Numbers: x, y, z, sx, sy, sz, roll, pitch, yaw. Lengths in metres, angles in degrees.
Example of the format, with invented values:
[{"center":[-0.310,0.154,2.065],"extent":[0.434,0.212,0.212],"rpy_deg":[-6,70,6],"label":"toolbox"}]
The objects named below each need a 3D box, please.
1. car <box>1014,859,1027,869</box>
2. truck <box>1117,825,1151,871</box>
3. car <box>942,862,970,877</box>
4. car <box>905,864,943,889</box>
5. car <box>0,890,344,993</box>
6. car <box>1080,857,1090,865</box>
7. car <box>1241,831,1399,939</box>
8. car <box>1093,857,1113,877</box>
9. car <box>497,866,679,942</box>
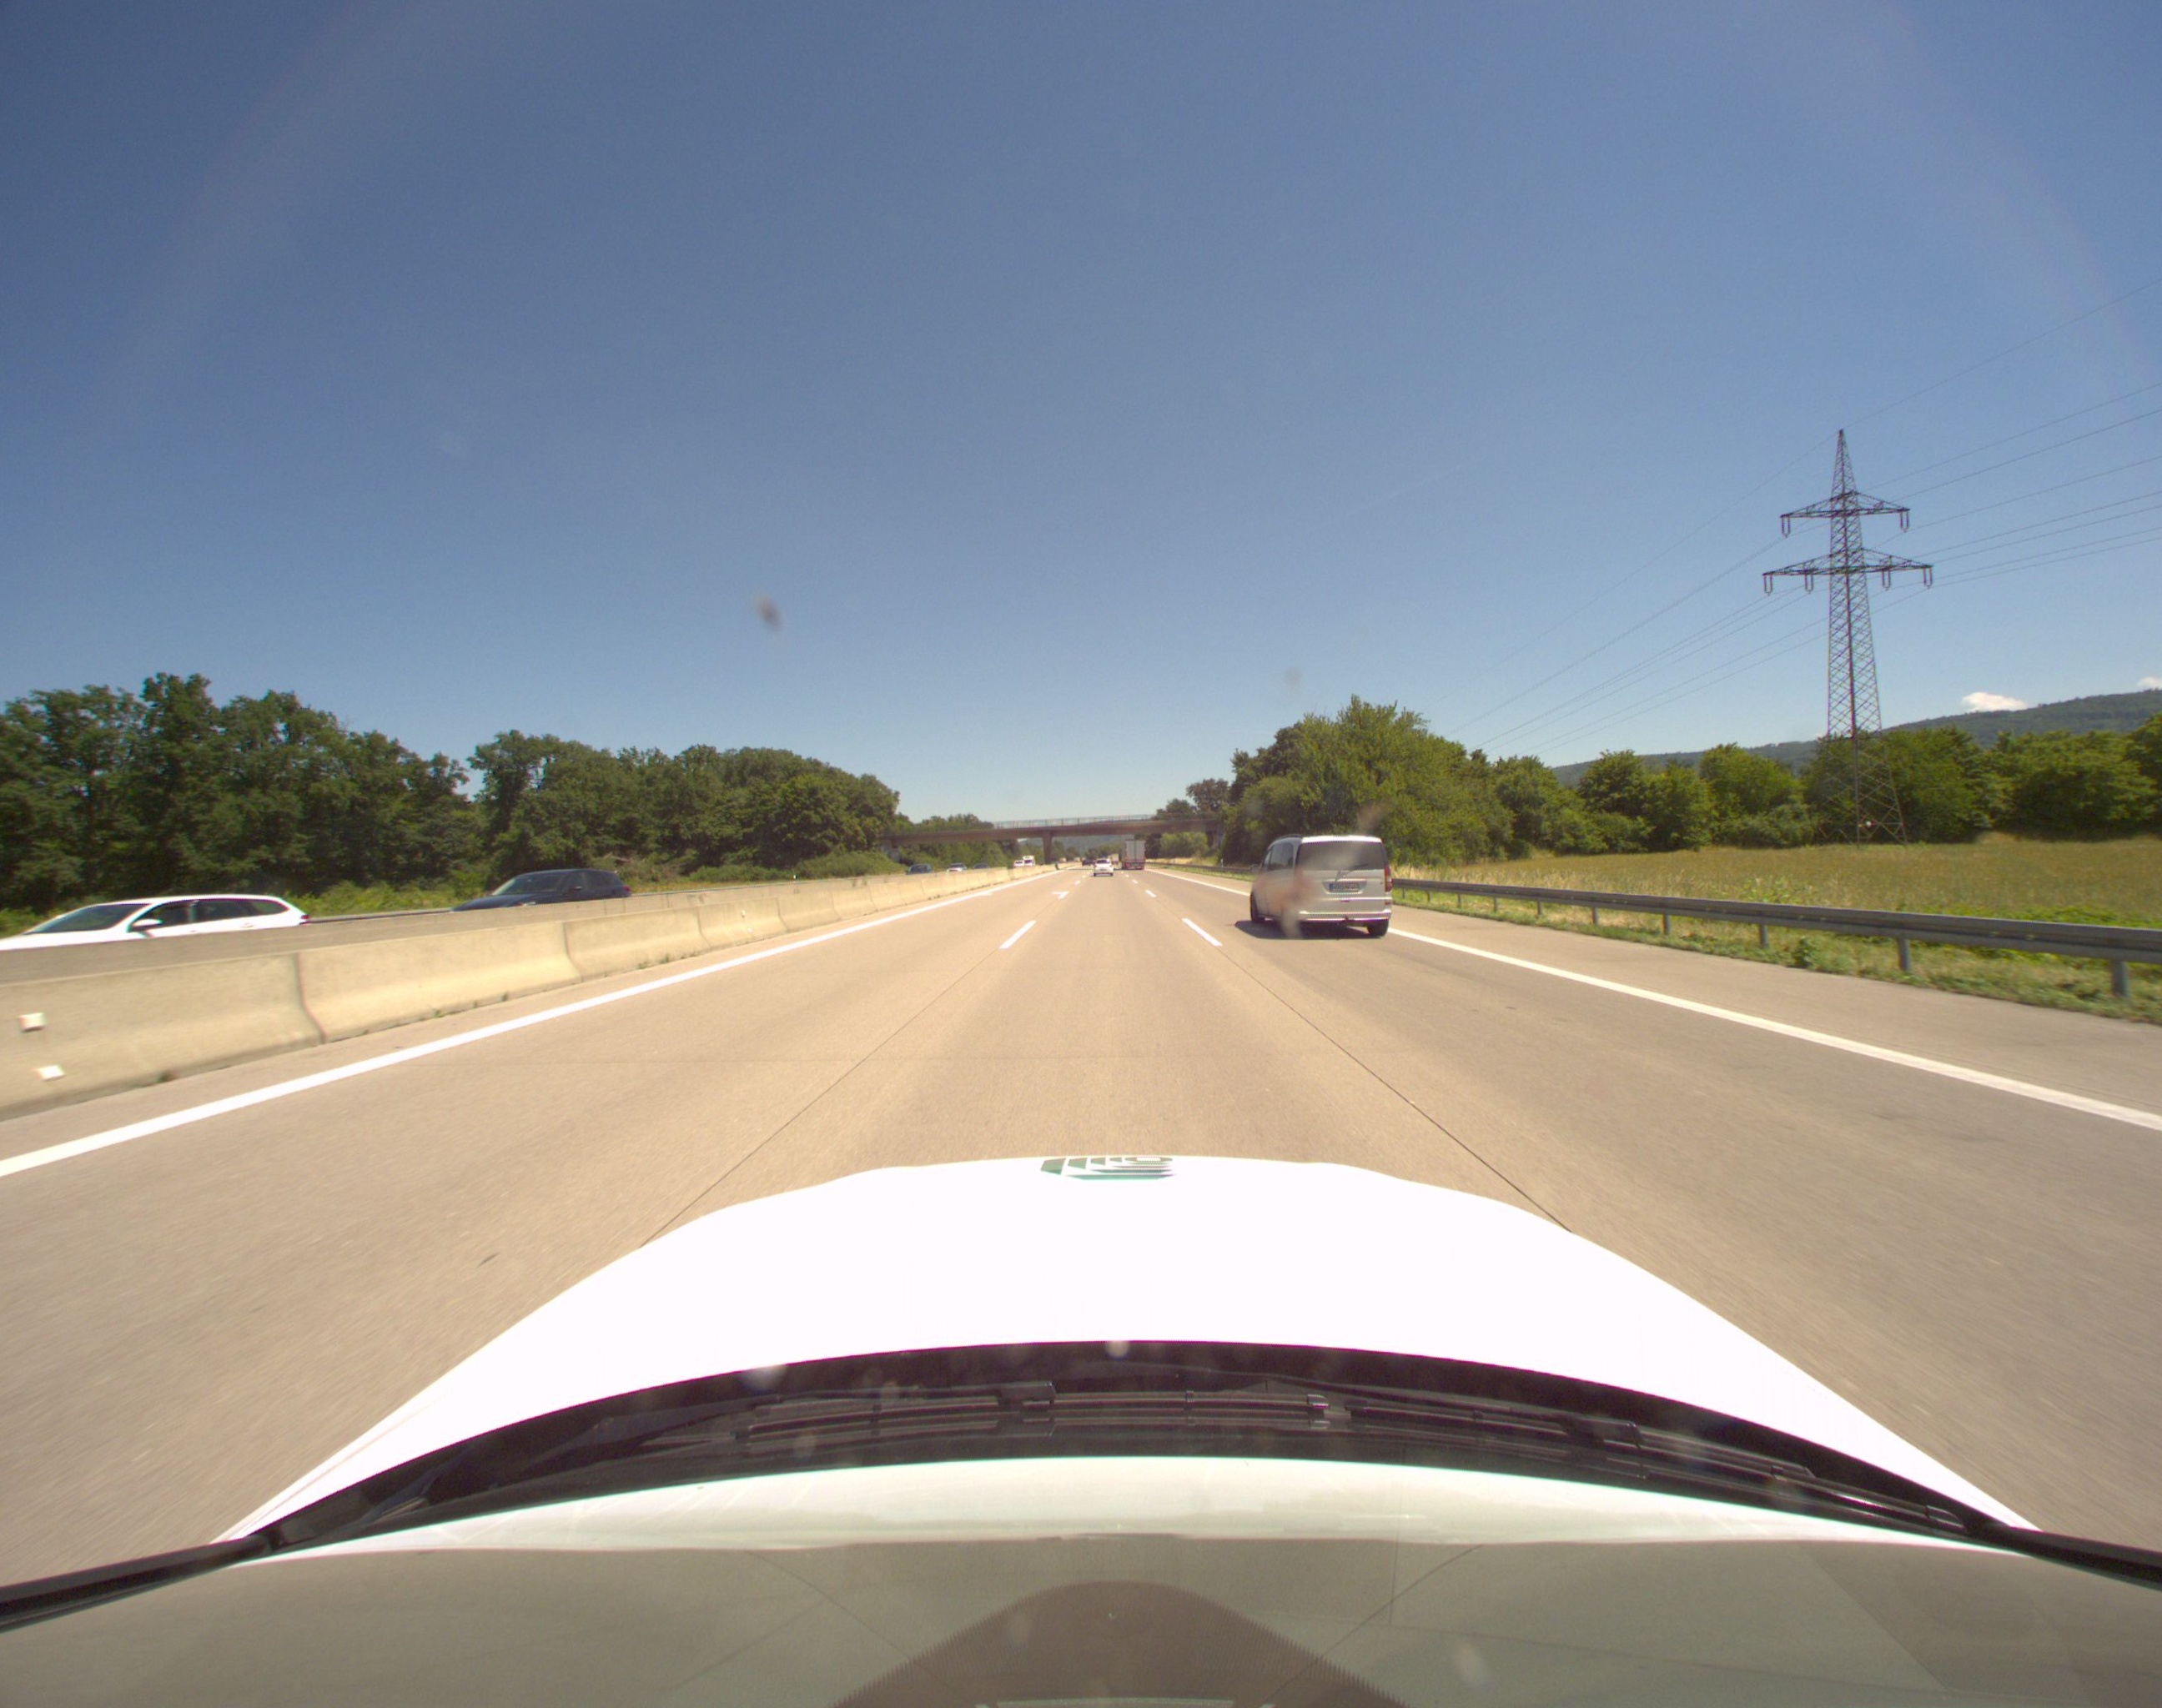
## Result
[{"center":[-11.354,1.878,152.577],"extent":[1.820,1.718,5.794],"rpy_deg":[-2,0,1],"label":"car"},{"center":[7.154,-0.766,112.808],"extent":[3.565,5.787,18.245],"rpy_deg":[-1,0,0],"label":"truck"},{"center":[-14.217,1.721,93.228],"extent":[2.058,1.496,6.137],"rpy_deg":[-2,0,1],"label":"car"},{"center":[-10.980,1.559,57.213],"extent":[1.681,1.544,4.340],"rpy_deg":[-2,0,2],"label":"car"},{"center":[-16.003,1.396,14.250],"extent":[1.681,1.263,4.793],"rpy_deg":[-2,0,2],"label":"car"},{"center":[0.865,1.607,178.381],"extent":[2.016,1.700,3.998],"rpy_deg":[0,-1,-1],"label":"car"},{"center":[4.754,0.554,17.057],"extent":[1.872,1.889,5.281],"rpy_deg":[-1,0,2],"label":"car"},{"center":[1.909,1.136,70.863],"extent":[1.635,1.662,3.361],"rpy_deg":[0,0,2],"label":"car"},{"center":[-12.318,1.171,20.756],"extent":[1.836,1.616,4.429],"rpy_deg":[-2,0,1],"label":"car"}]
